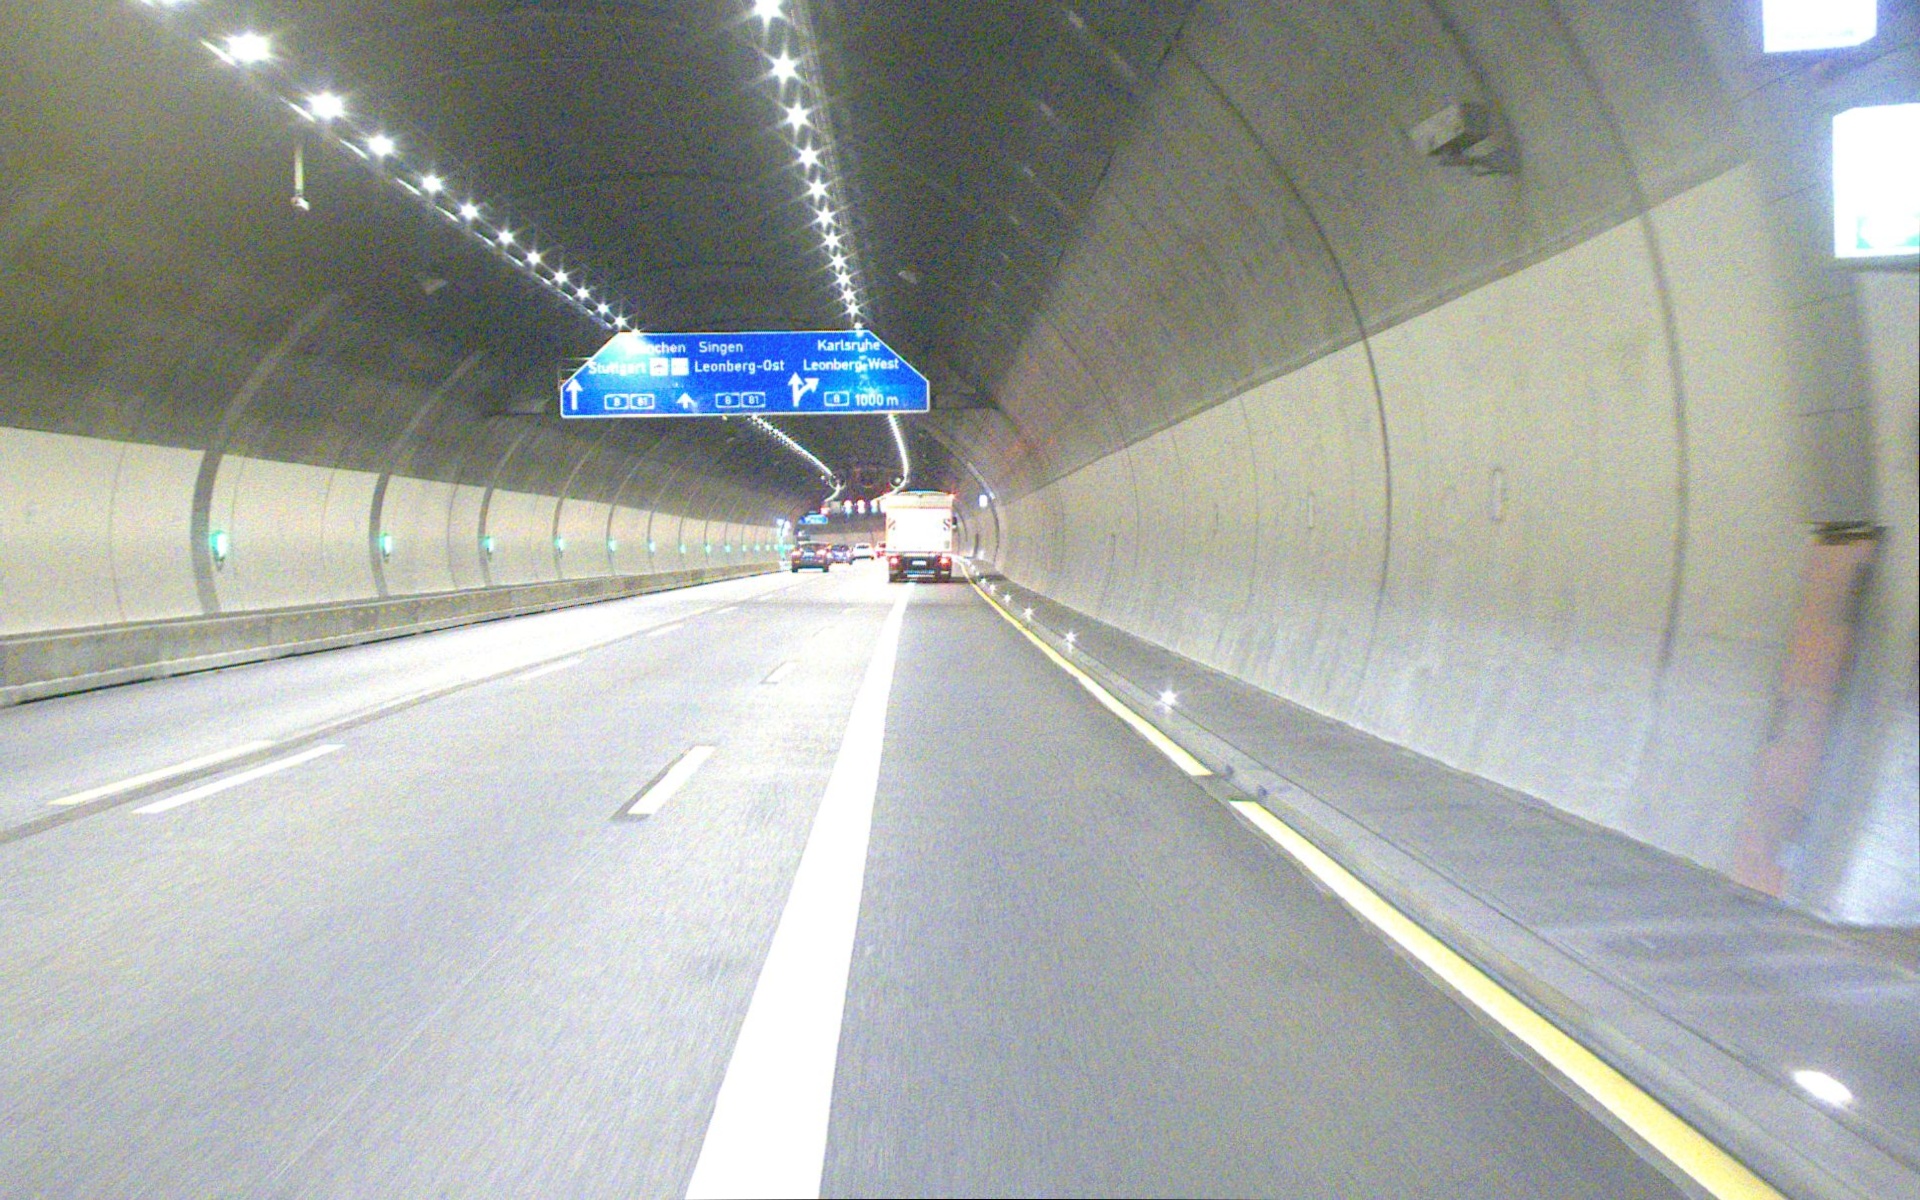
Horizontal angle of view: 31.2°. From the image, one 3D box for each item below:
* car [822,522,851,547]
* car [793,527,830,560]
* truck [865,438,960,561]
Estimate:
[{"bbox_3d":[-8.366,-4.436,232.268,1.812,1.514,4.001,0,3,-4],"label":"car"},{"bbox_3d":[-7.541,-2.883,174.559,1.812,1.612,4.001,0,2,-3],"label":"car"},{"bbox_3d":[-2.064,-4.033,139.530,3.278,4.634,17.289,-1,1,-2],"label":"truck"}]
